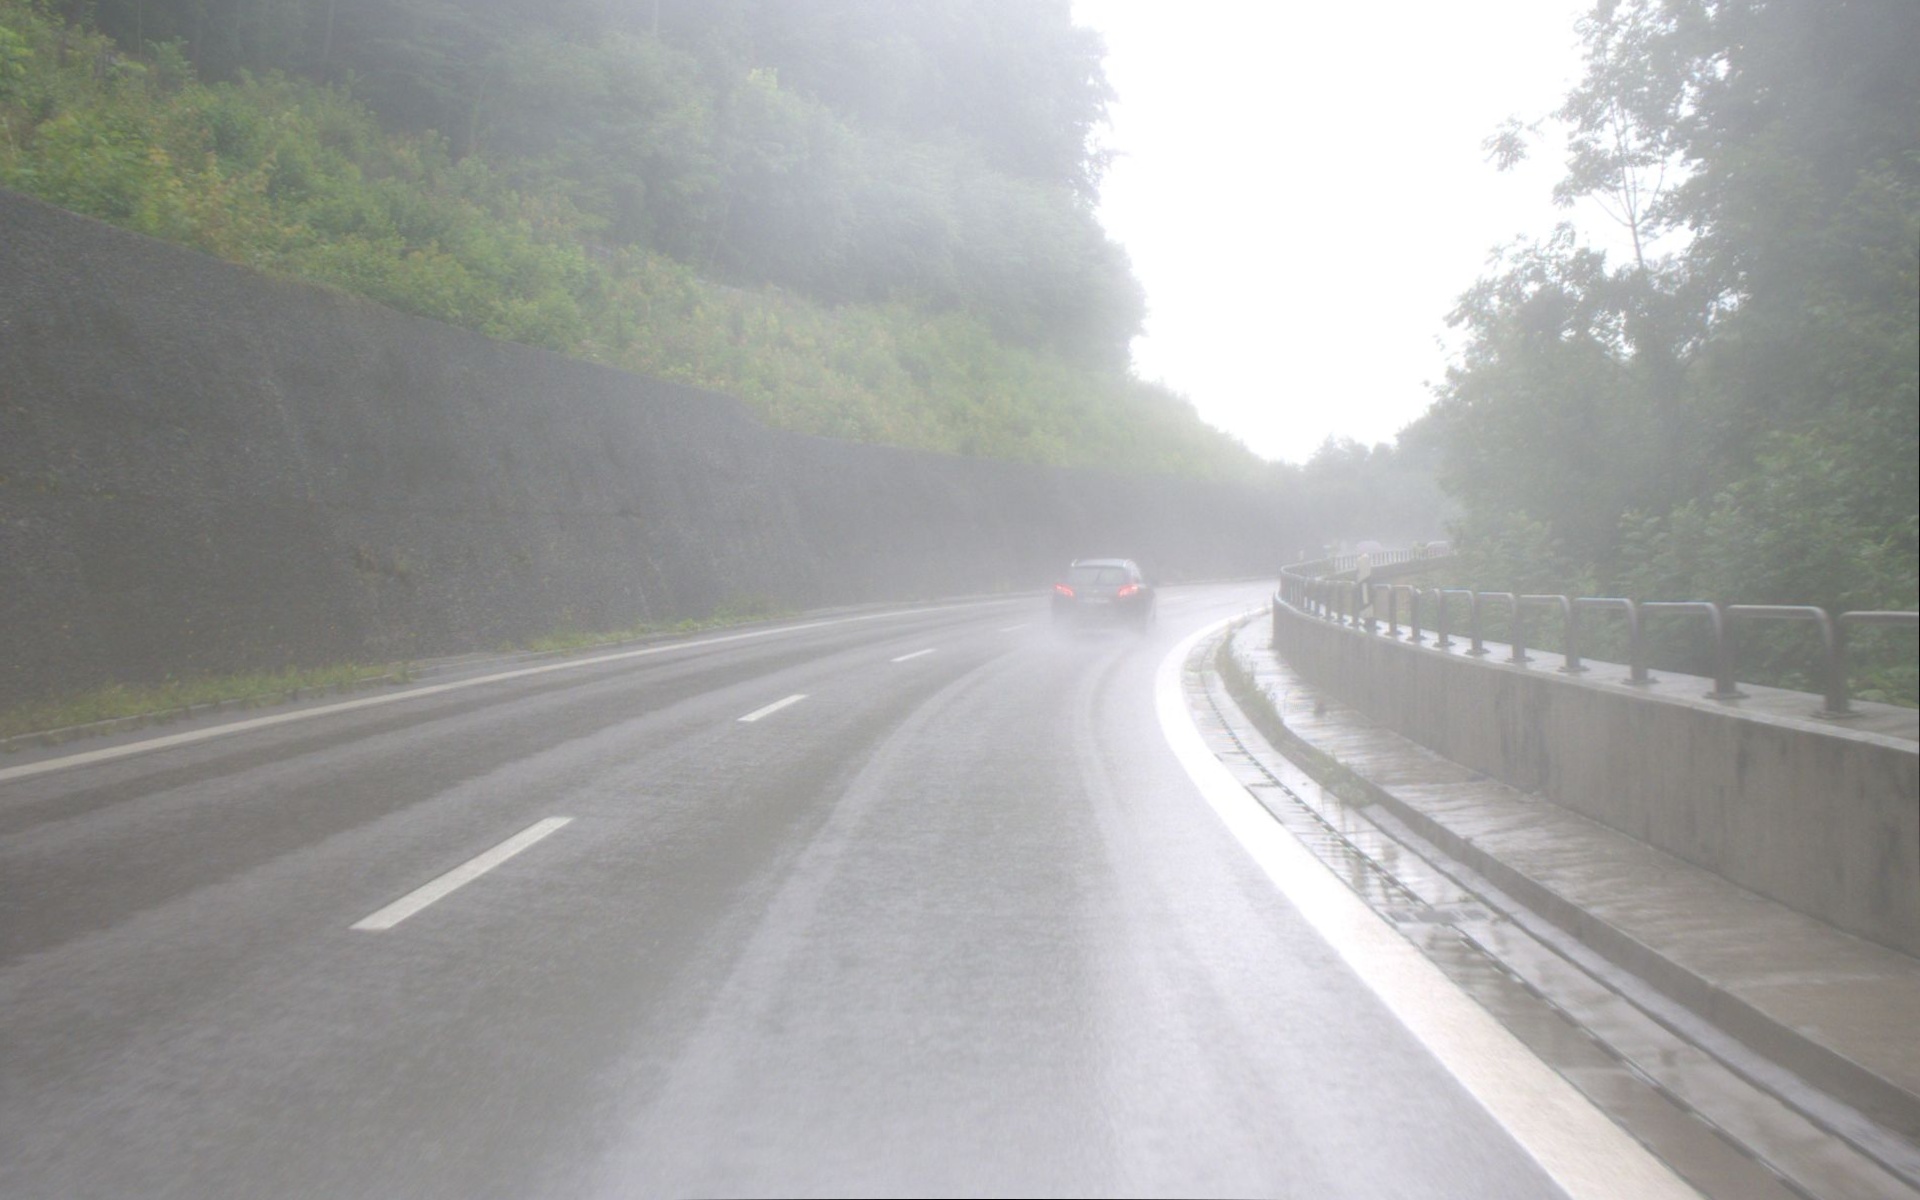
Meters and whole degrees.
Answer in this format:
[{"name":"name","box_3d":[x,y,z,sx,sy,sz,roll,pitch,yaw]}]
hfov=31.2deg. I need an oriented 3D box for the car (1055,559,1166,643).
[{"name":"car","box_3d":[2.881,-0.009,65.272,1.904,1.494,3.999,-1,1,5]}]
